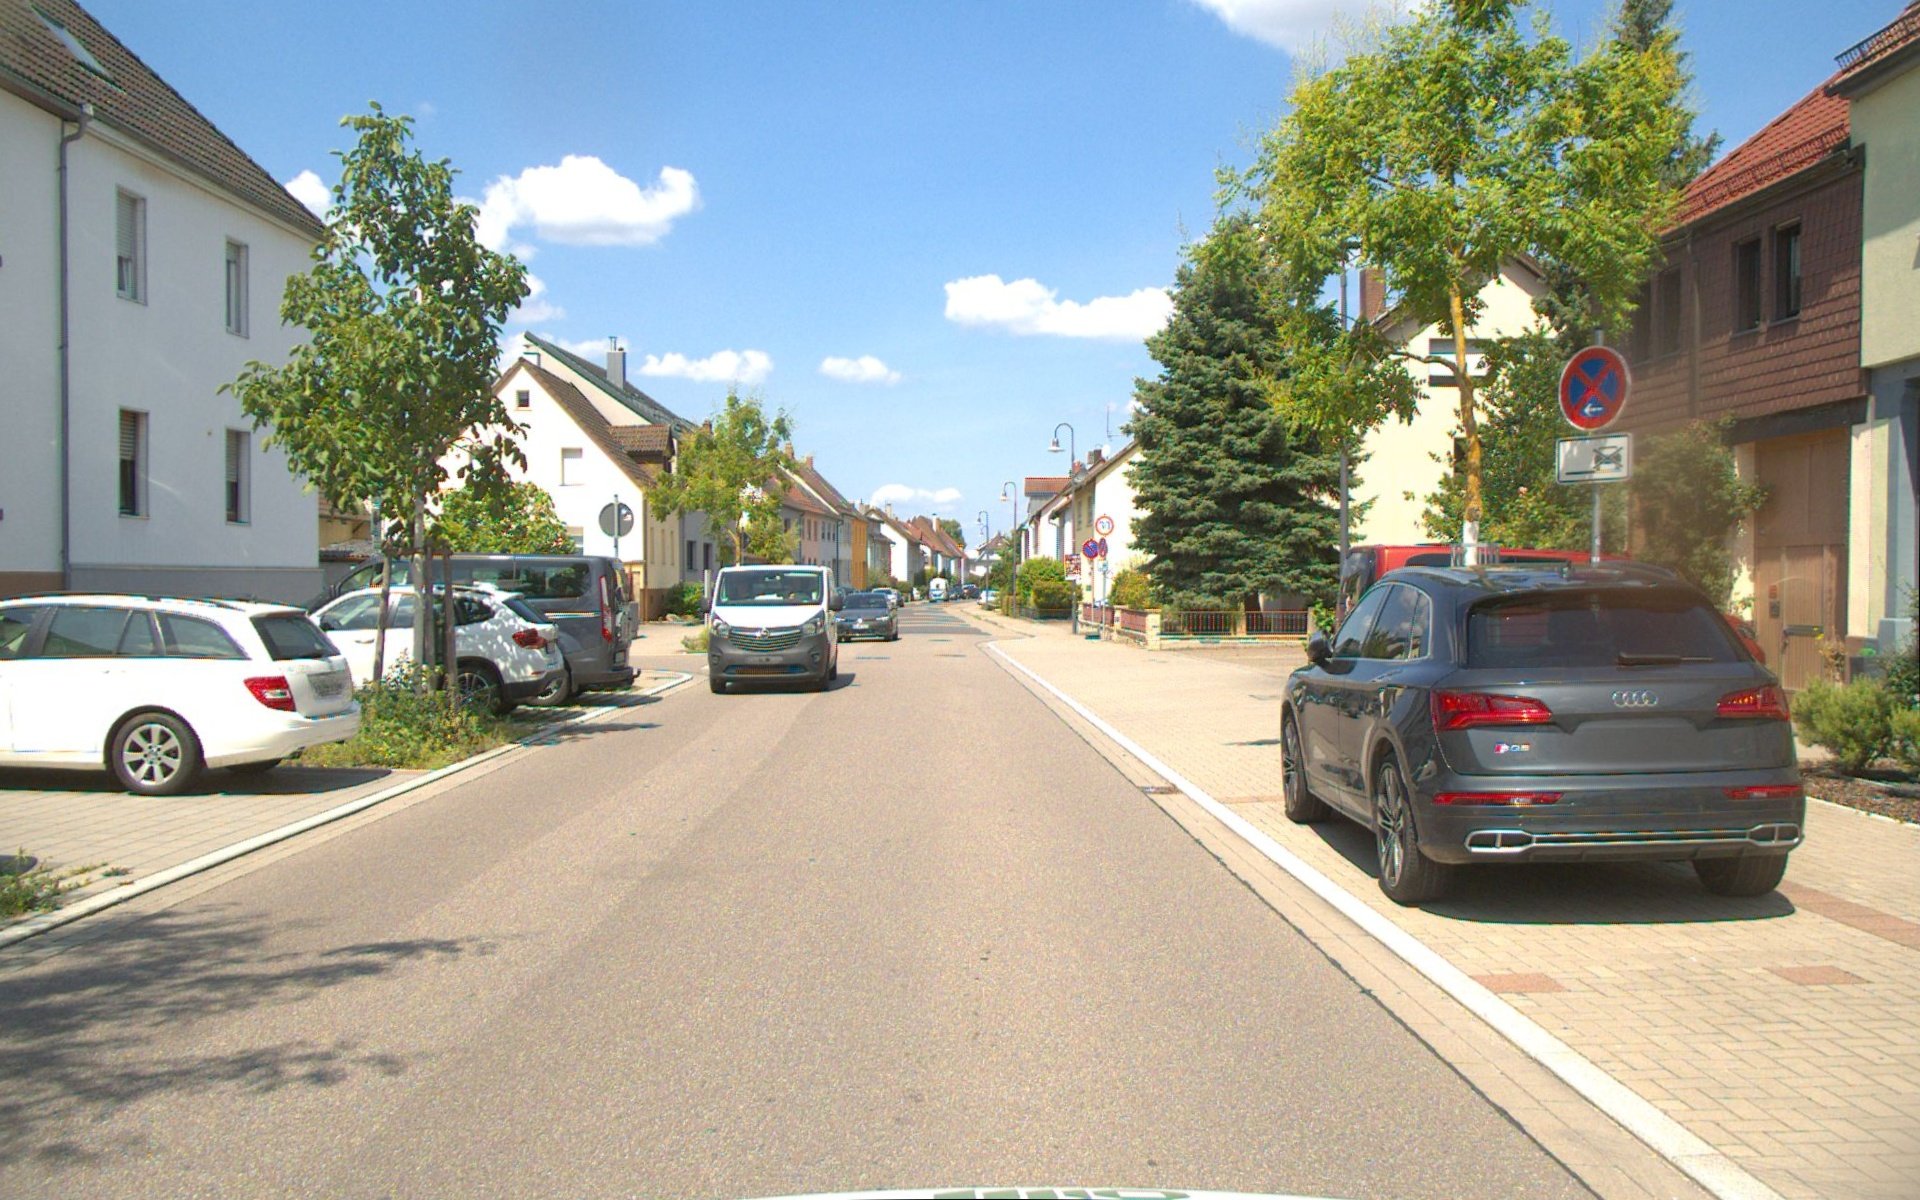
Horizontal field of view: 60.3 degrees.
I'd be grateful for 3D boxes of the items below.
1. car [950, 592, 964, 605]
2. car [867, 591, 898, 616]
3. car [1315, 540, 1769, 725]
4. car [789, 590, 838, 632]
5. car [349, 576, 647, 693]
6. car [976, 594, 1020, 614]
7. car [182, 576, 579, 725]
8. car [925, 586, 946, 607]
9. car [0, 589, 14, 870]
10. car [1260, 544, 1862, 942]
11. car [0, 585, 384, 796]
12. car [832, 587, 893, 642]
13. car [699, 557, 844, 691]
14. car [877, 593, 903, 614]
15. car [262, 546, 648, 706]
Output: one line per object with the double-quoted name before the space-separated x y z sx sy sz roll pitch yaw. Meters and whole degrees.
"car" -0.406 -0.205 216.078 1.656 1.689 3.772 2 -1 2
"car" -5.430 0.262 116.568 1.812 1.688 4.001 2 0 1
"car" 6.617 0.373 19.141 4.526 1.927 2.019 1 -1 -3
"car" -5.962 0.437 67.635 1.780 1.458 4.137 4 1 -4
"car" -7.110 0.528 25.757 4.091 1.647 1.772 2 -1 -2
"car" 3.062 0.314 132.614 3.452 1.490 1.628 2 -1 -1
"car" -6.791 0.590 19.765 4.101 1.596 1.772 2 -1 -5
"car" -2.761 -0.389 186.718 2.002 2.352 3.772 2 -1 2
"car" -6.850 0.646 7.743 3.808 1.493 1.655 1 -1 -10
"car" 3.018 0.590 9.416 1.826 1.664 4.447 -2 1 1
"car" -6.930 0.645 12.908 4.207 1.493 1.774 1 -1 0
"car" -2.942 0.423 50.647 1.727 1.549 4.047 -2 0 -2
"car" -2.953 0.372 26.894 1.982 1.984 4.896 0 0 -2
"car" -5.823 0.292 137.577 1.812 1.688 4.001 2 0 1
"car" -6.763 0.352 22.550 4.605 1.957 1.937 2 -1 -2
